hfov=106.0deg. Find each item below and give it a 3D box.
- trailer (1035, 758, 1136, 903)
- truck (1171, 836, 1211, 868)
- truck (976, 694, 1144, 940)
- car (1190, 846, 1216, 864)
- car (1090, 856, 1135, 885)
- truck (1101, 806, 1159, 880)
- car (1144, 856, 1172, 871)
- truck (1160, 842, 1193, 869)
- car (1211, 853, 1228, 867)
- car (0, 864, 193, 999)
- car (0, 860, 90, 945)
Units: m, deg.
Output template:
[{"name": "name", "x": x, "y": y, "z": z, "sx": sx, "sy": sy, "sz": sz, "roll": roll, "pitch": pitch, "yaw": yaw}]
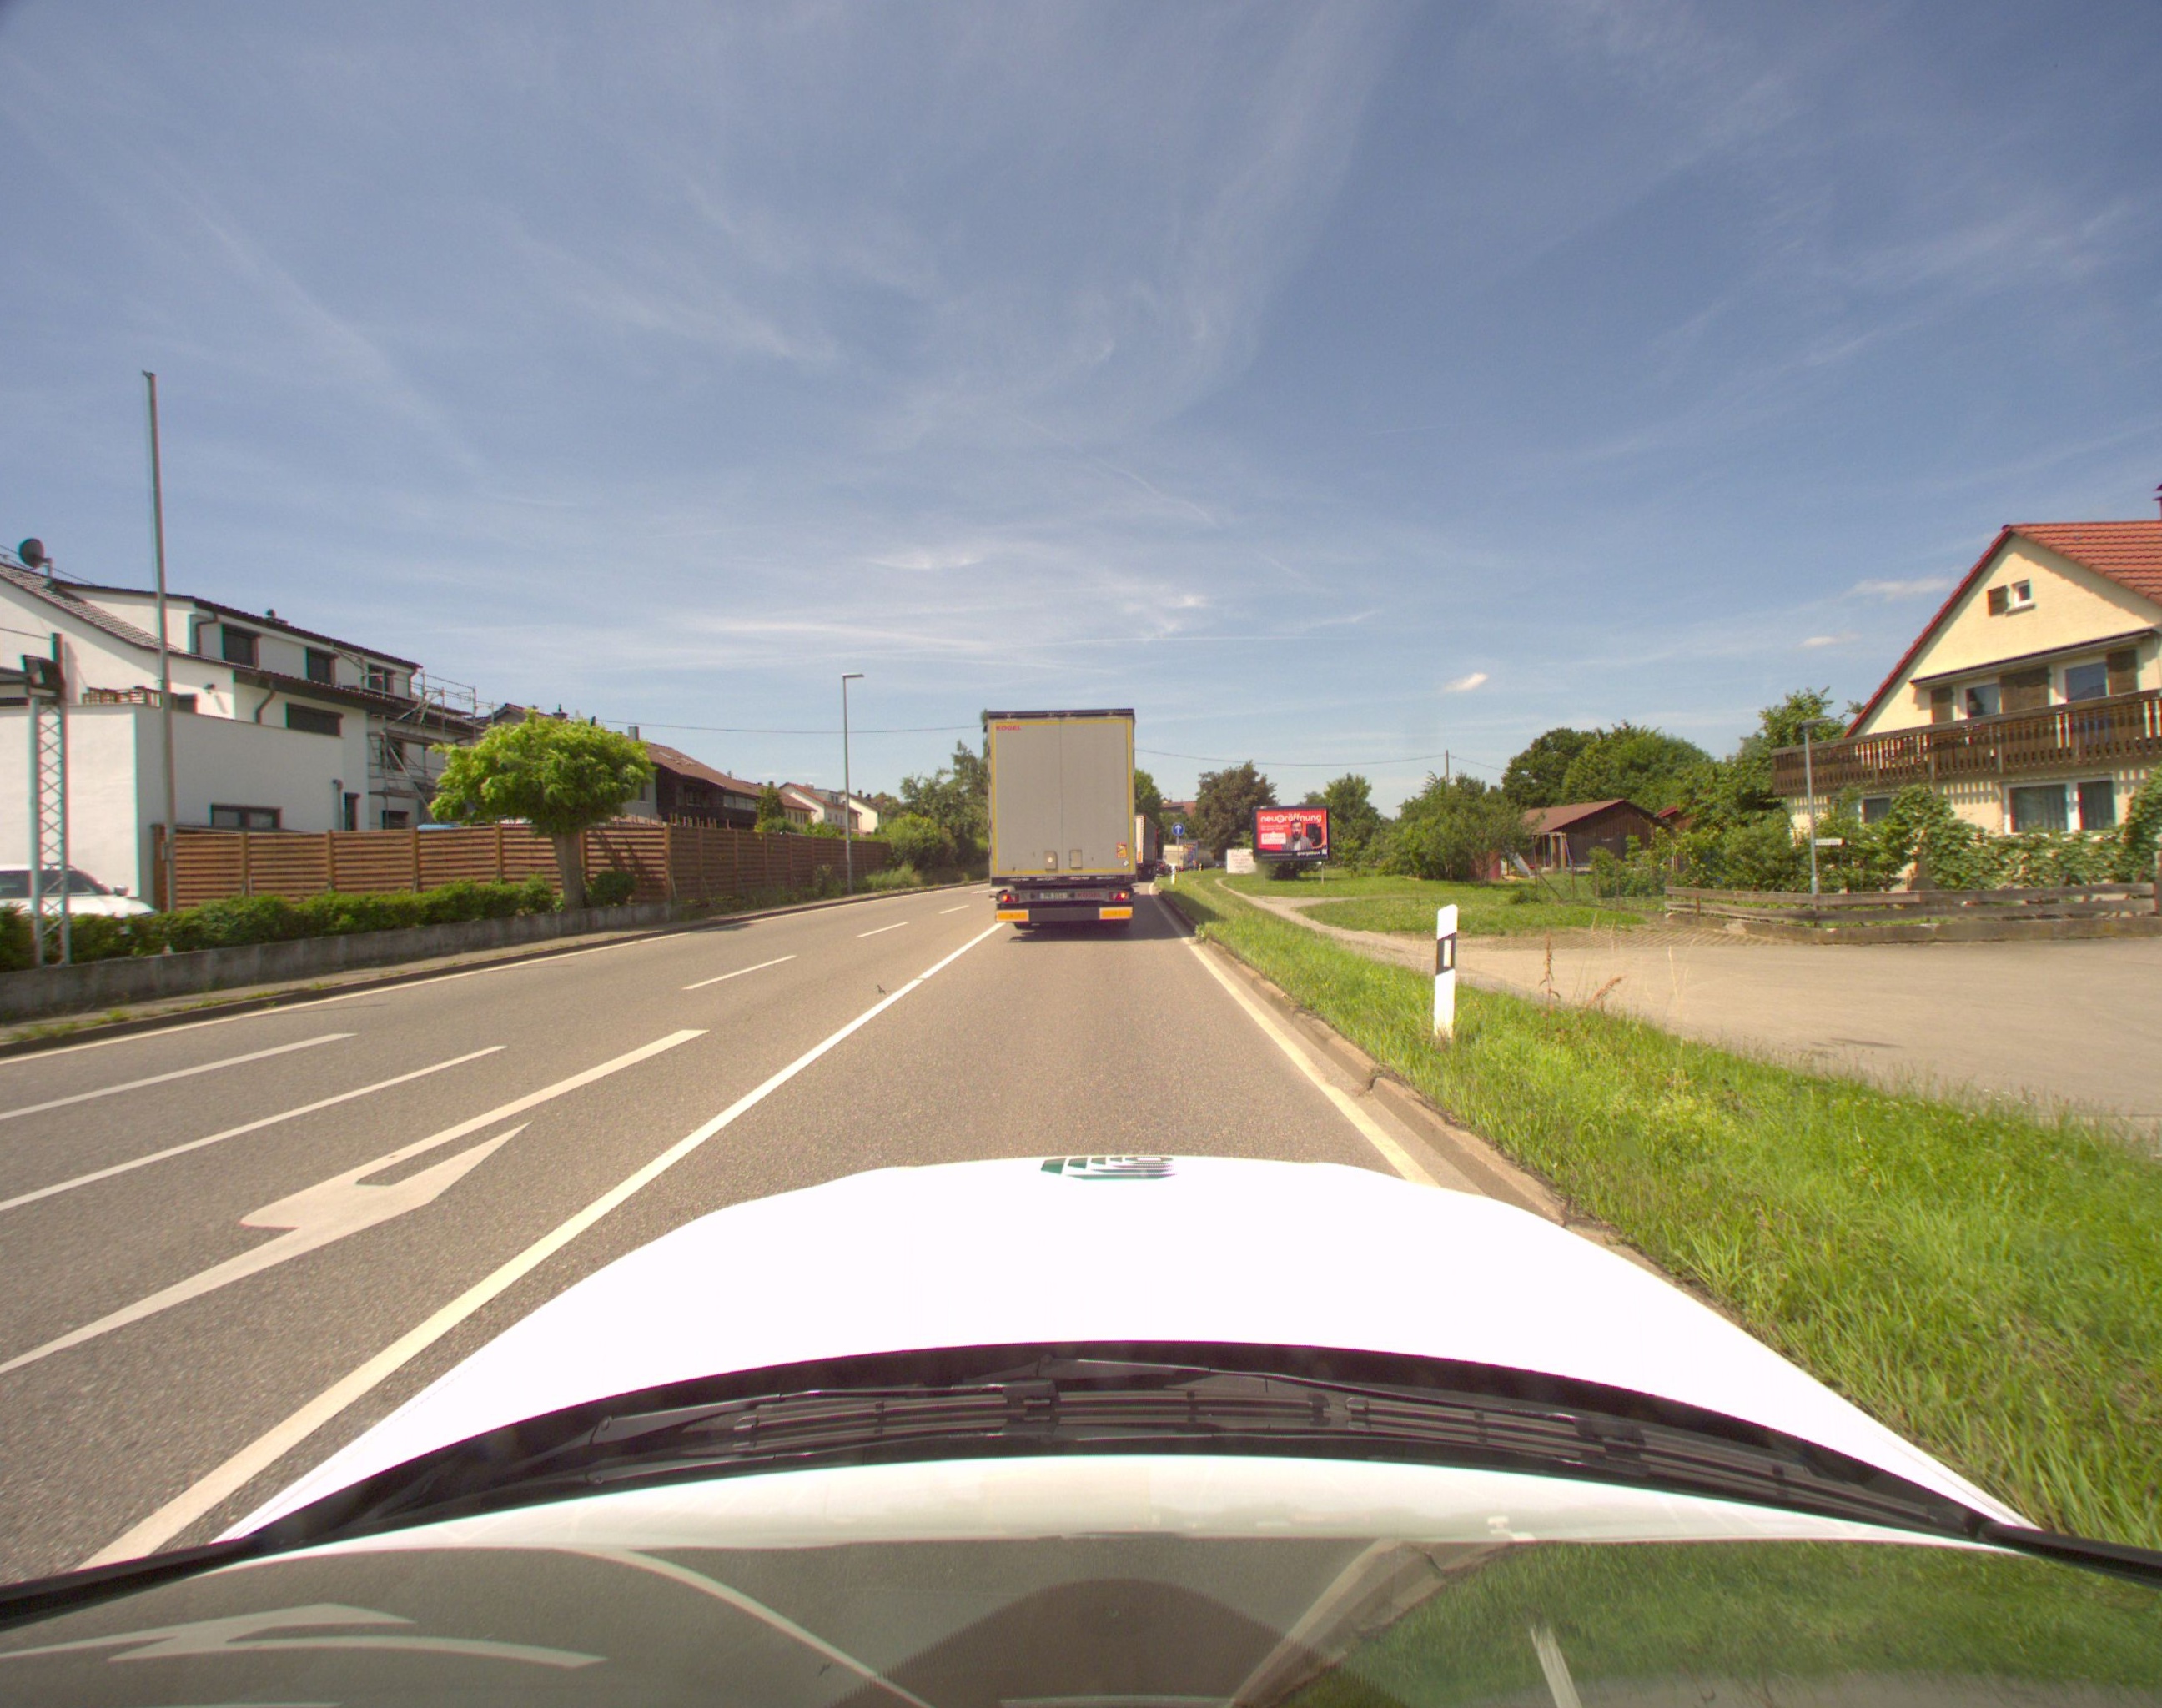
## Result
[{"name": "trailer", "x": 0.272, "y": -0.667, "z": 26.604, "sx": 2.814, "sy": 4.111, "sz": 6.548, "roll": -1, "pitch": 0, "yaw": 2}, {"name": "truck", "x": 13.349, "y": -0.233, "z": 98.071, "sx": 3.406, "sy": 3.604, "sz": 9.394, "roll": 0, "pitch": 0, "yaw": 16}, {"name": "truck", "x": -0.076, "y": -0.637, "z": 19.461, "sx": 2.810, "sy": 4.127, "sz": 11.452, "roll": 0, "pitch": 0, "yaw": 3}, {"name": "car", "x": 16.062, "y": 0.140, "z": 106.754, "sx": 2.512, "sy": 2.277, "sz": 6.409, "roll": 0, "pitch": 0, "yaw": 17}, {"name": "car", "x": 1.603, "y": 0.819, "z": 40.399, "sx": 1.808, "sy": 1.346, "sz": 3.856, "roll": 0, "pitch": -1, "yaw": 9}, {"name": "truck", "x": 3.637, "y": -0.506, "z": 55.540, "sx": 2.745, "sy": 4.289, "sz": 16.448, "roll": 0, "pitch": -1, "yaw": 7}, {"name": "car", "x": 7.133, "y": 0.899, "z": 75.074, "sx": 1.980, "sy": 1.376, "sz": 4.014, "roll": 0, "pitch": -1, "yaw": 13}, {"name": "truck", "x": 10.203, "y": 0.220, "z": 86.624, "sx": 2.524, "sy": 2.803, "sz": 6.056, "roll": 0, "pitch": -1, "yaw": 15}, {"name": "car", "x": 20.436, "y": 0.890, "z": 120.056, "sx": 1.978, "sy": 2.014, "sz": 4.017, "roll": -1, "pitch": -1, "yaw": 17}, {"name": "car", "x": -13.370, "y": 0.861, "z": 10.170, "sx": 4.288, "sy": 1.447, "sz": 1.868, "roll": -1, "pitch": -1, "yaw": 25}, {"name": "car", "x": -21.190, "y": 0.886, "z": 15.205, "sx": 3.959, "sy": 1.510, "sz": 1.842, "roll": 0, "pitch": 0, "yaw": 13}]
